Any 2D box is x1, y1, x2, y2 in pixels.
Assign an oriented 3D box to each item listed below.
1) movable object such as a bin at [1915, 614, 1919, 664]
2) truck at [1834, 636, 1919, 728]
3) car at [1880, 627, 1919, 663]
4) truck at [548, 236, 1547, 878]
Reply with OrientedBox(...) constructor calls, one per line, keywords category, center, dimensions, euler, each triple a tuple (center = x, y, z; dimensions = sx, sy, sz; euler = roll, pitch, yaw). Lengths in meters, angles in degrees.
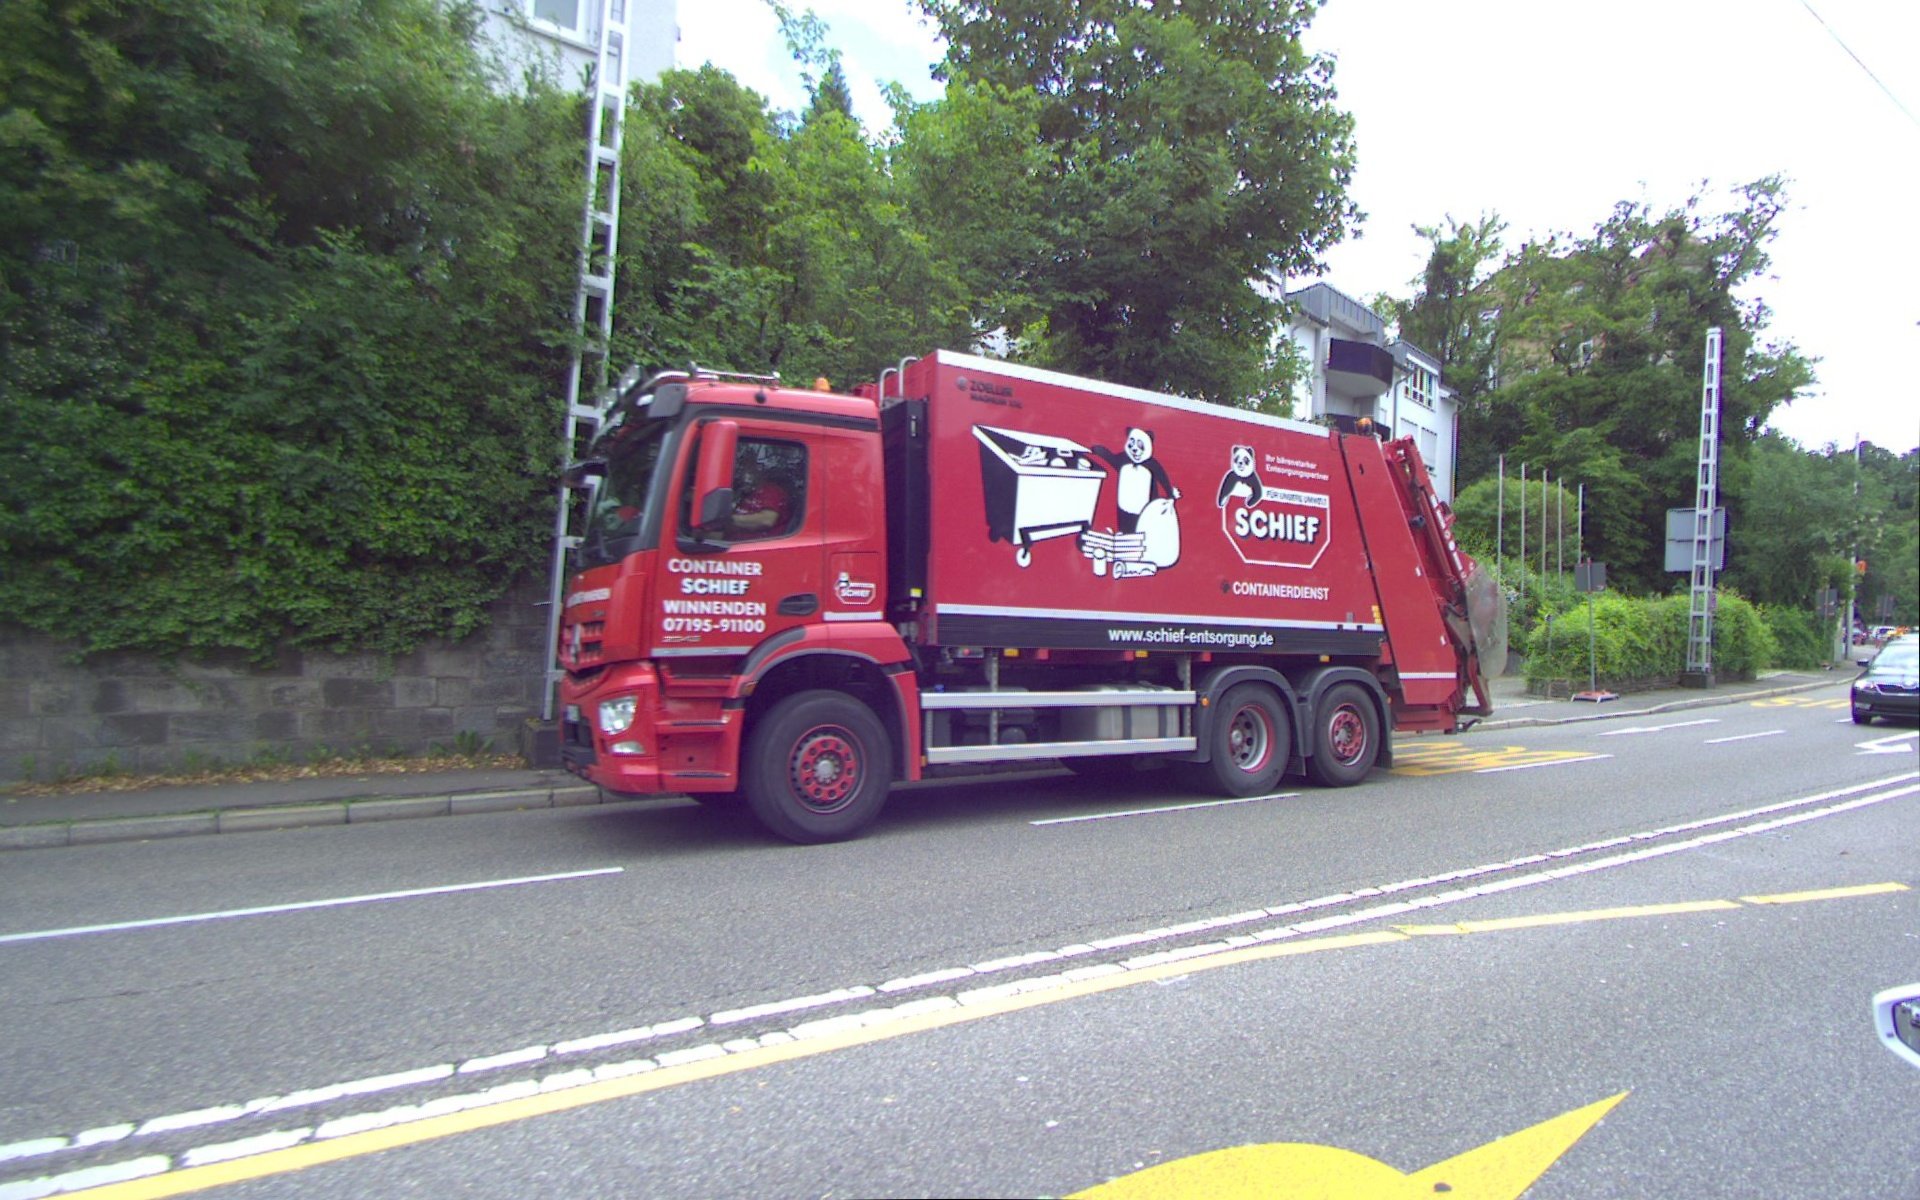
OrientedBox(category="movable object such as a bin", center=(72.293, 2.837, 72.619), dimensions=(3.484, 3.748, 7.471), euler=(-1, -2, 34))
OrientedBox(category="truck", center=(16.795, 1.351, 17.285), dimensions=(3.984, 1.462, 1.652), euler=(1, -2, -34))
OrientedBox(category="car", center=(38.572, 1.813, 40.574), dimensions=(3.974, 1.400, 1.877), euler=(2, -2, -45))
OrientedBox(category="truck", center=(1.499, -0.109, 9.708), dimensions=(9.808, 3.746, 2.930), euler=(1, -3, -32))
